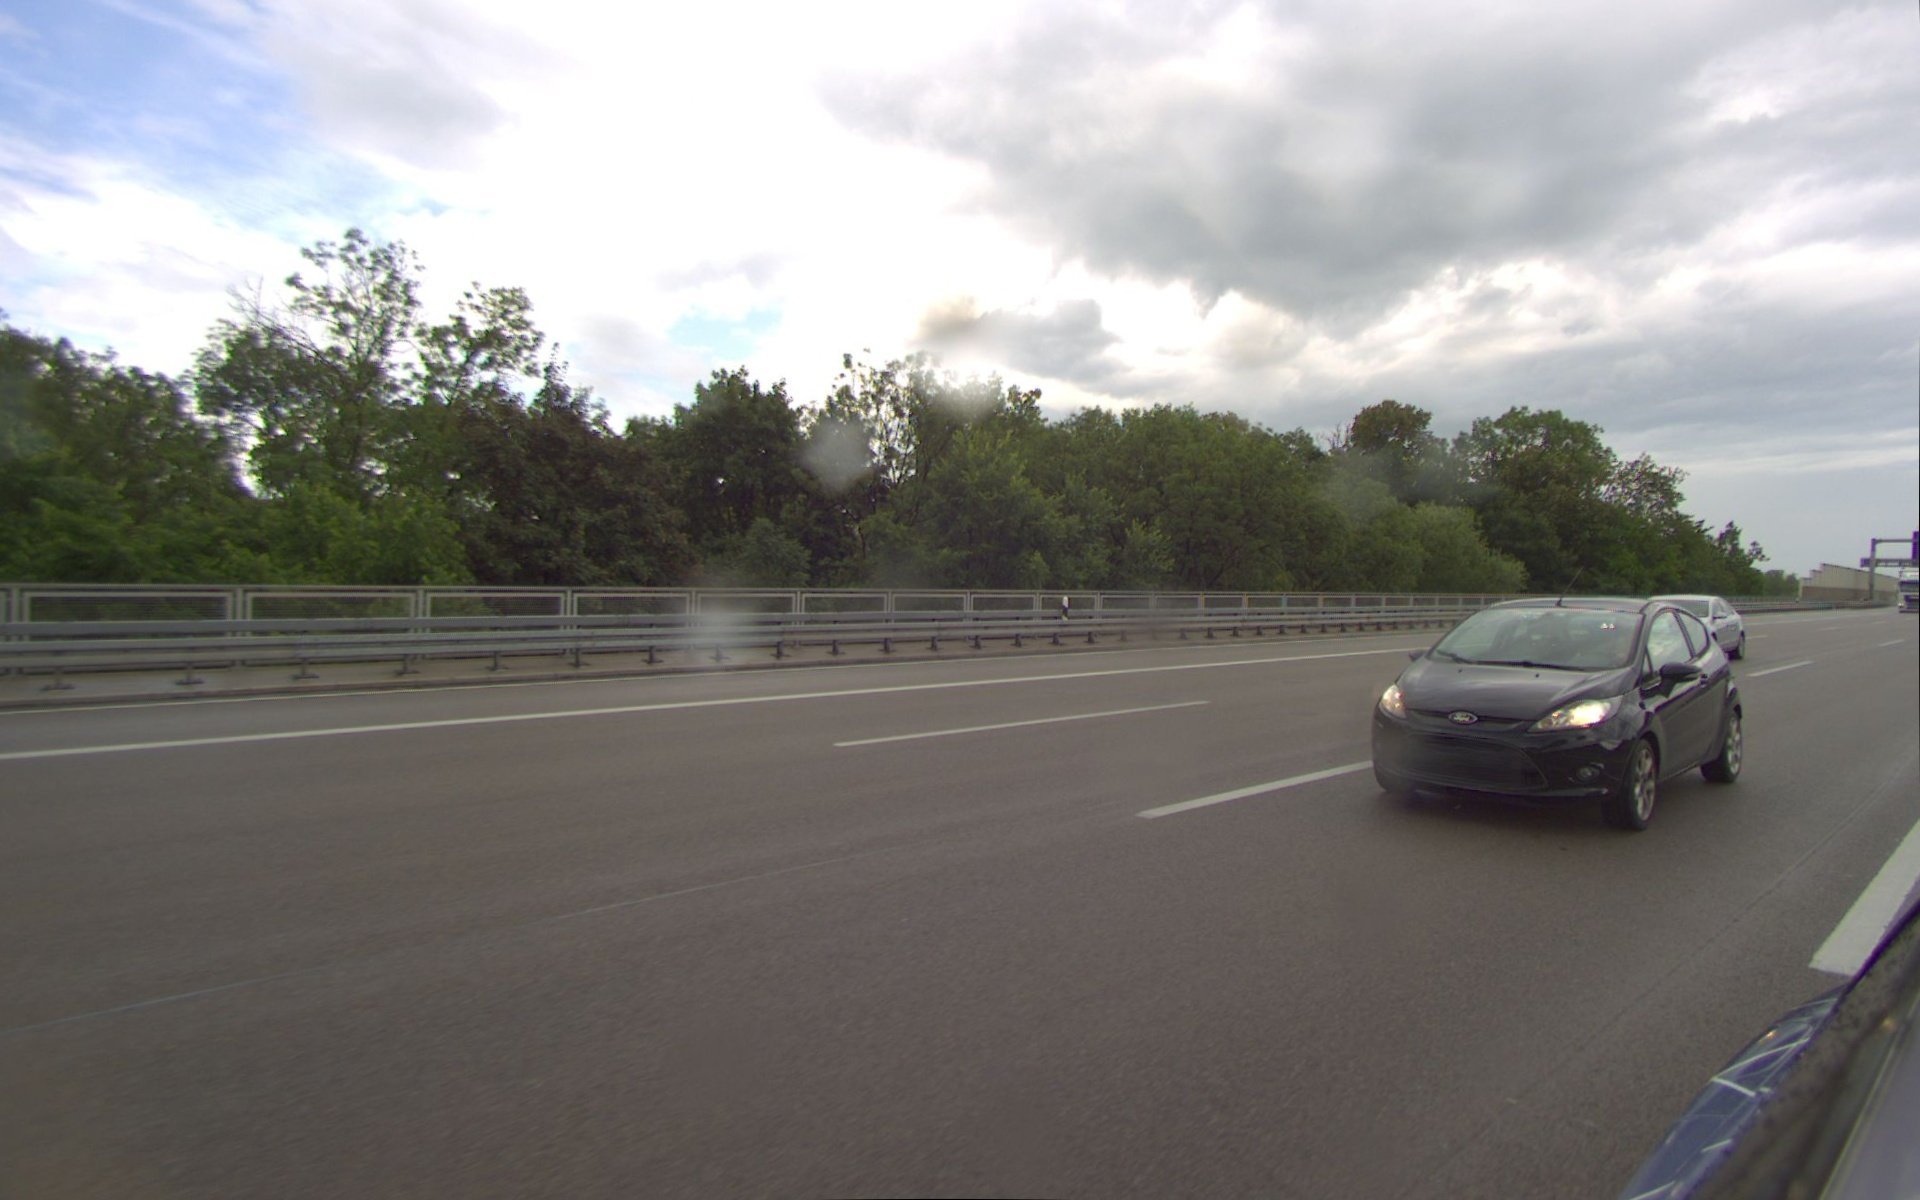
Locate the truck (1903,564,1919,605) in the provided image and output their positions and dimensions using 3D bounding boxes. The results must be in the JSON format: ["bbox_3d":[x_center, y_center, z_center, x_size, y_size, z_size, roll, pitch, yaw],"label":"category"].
[{"bbox_3d":[96.621,-1.516,100.949,12.112,3.956,3.248,0,0,-44],"label":"truck"}]

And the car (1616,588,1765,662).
[{"bbox_3d":[16.387,0.499,22.635,4.173,1.465,1.896,0,1,-42],"label":"car"}]

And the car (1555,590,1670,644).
[{"bbox_3d":[19.464,0.475,30.122,4.509,1.465,1.779,0,1,-42],"label":"car"}]

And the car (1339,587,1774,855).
[{"bbox_3d":[4.698,0.639,7.664,4.331,1.458,1.666,-1,1,-43],"label":"car"}]
